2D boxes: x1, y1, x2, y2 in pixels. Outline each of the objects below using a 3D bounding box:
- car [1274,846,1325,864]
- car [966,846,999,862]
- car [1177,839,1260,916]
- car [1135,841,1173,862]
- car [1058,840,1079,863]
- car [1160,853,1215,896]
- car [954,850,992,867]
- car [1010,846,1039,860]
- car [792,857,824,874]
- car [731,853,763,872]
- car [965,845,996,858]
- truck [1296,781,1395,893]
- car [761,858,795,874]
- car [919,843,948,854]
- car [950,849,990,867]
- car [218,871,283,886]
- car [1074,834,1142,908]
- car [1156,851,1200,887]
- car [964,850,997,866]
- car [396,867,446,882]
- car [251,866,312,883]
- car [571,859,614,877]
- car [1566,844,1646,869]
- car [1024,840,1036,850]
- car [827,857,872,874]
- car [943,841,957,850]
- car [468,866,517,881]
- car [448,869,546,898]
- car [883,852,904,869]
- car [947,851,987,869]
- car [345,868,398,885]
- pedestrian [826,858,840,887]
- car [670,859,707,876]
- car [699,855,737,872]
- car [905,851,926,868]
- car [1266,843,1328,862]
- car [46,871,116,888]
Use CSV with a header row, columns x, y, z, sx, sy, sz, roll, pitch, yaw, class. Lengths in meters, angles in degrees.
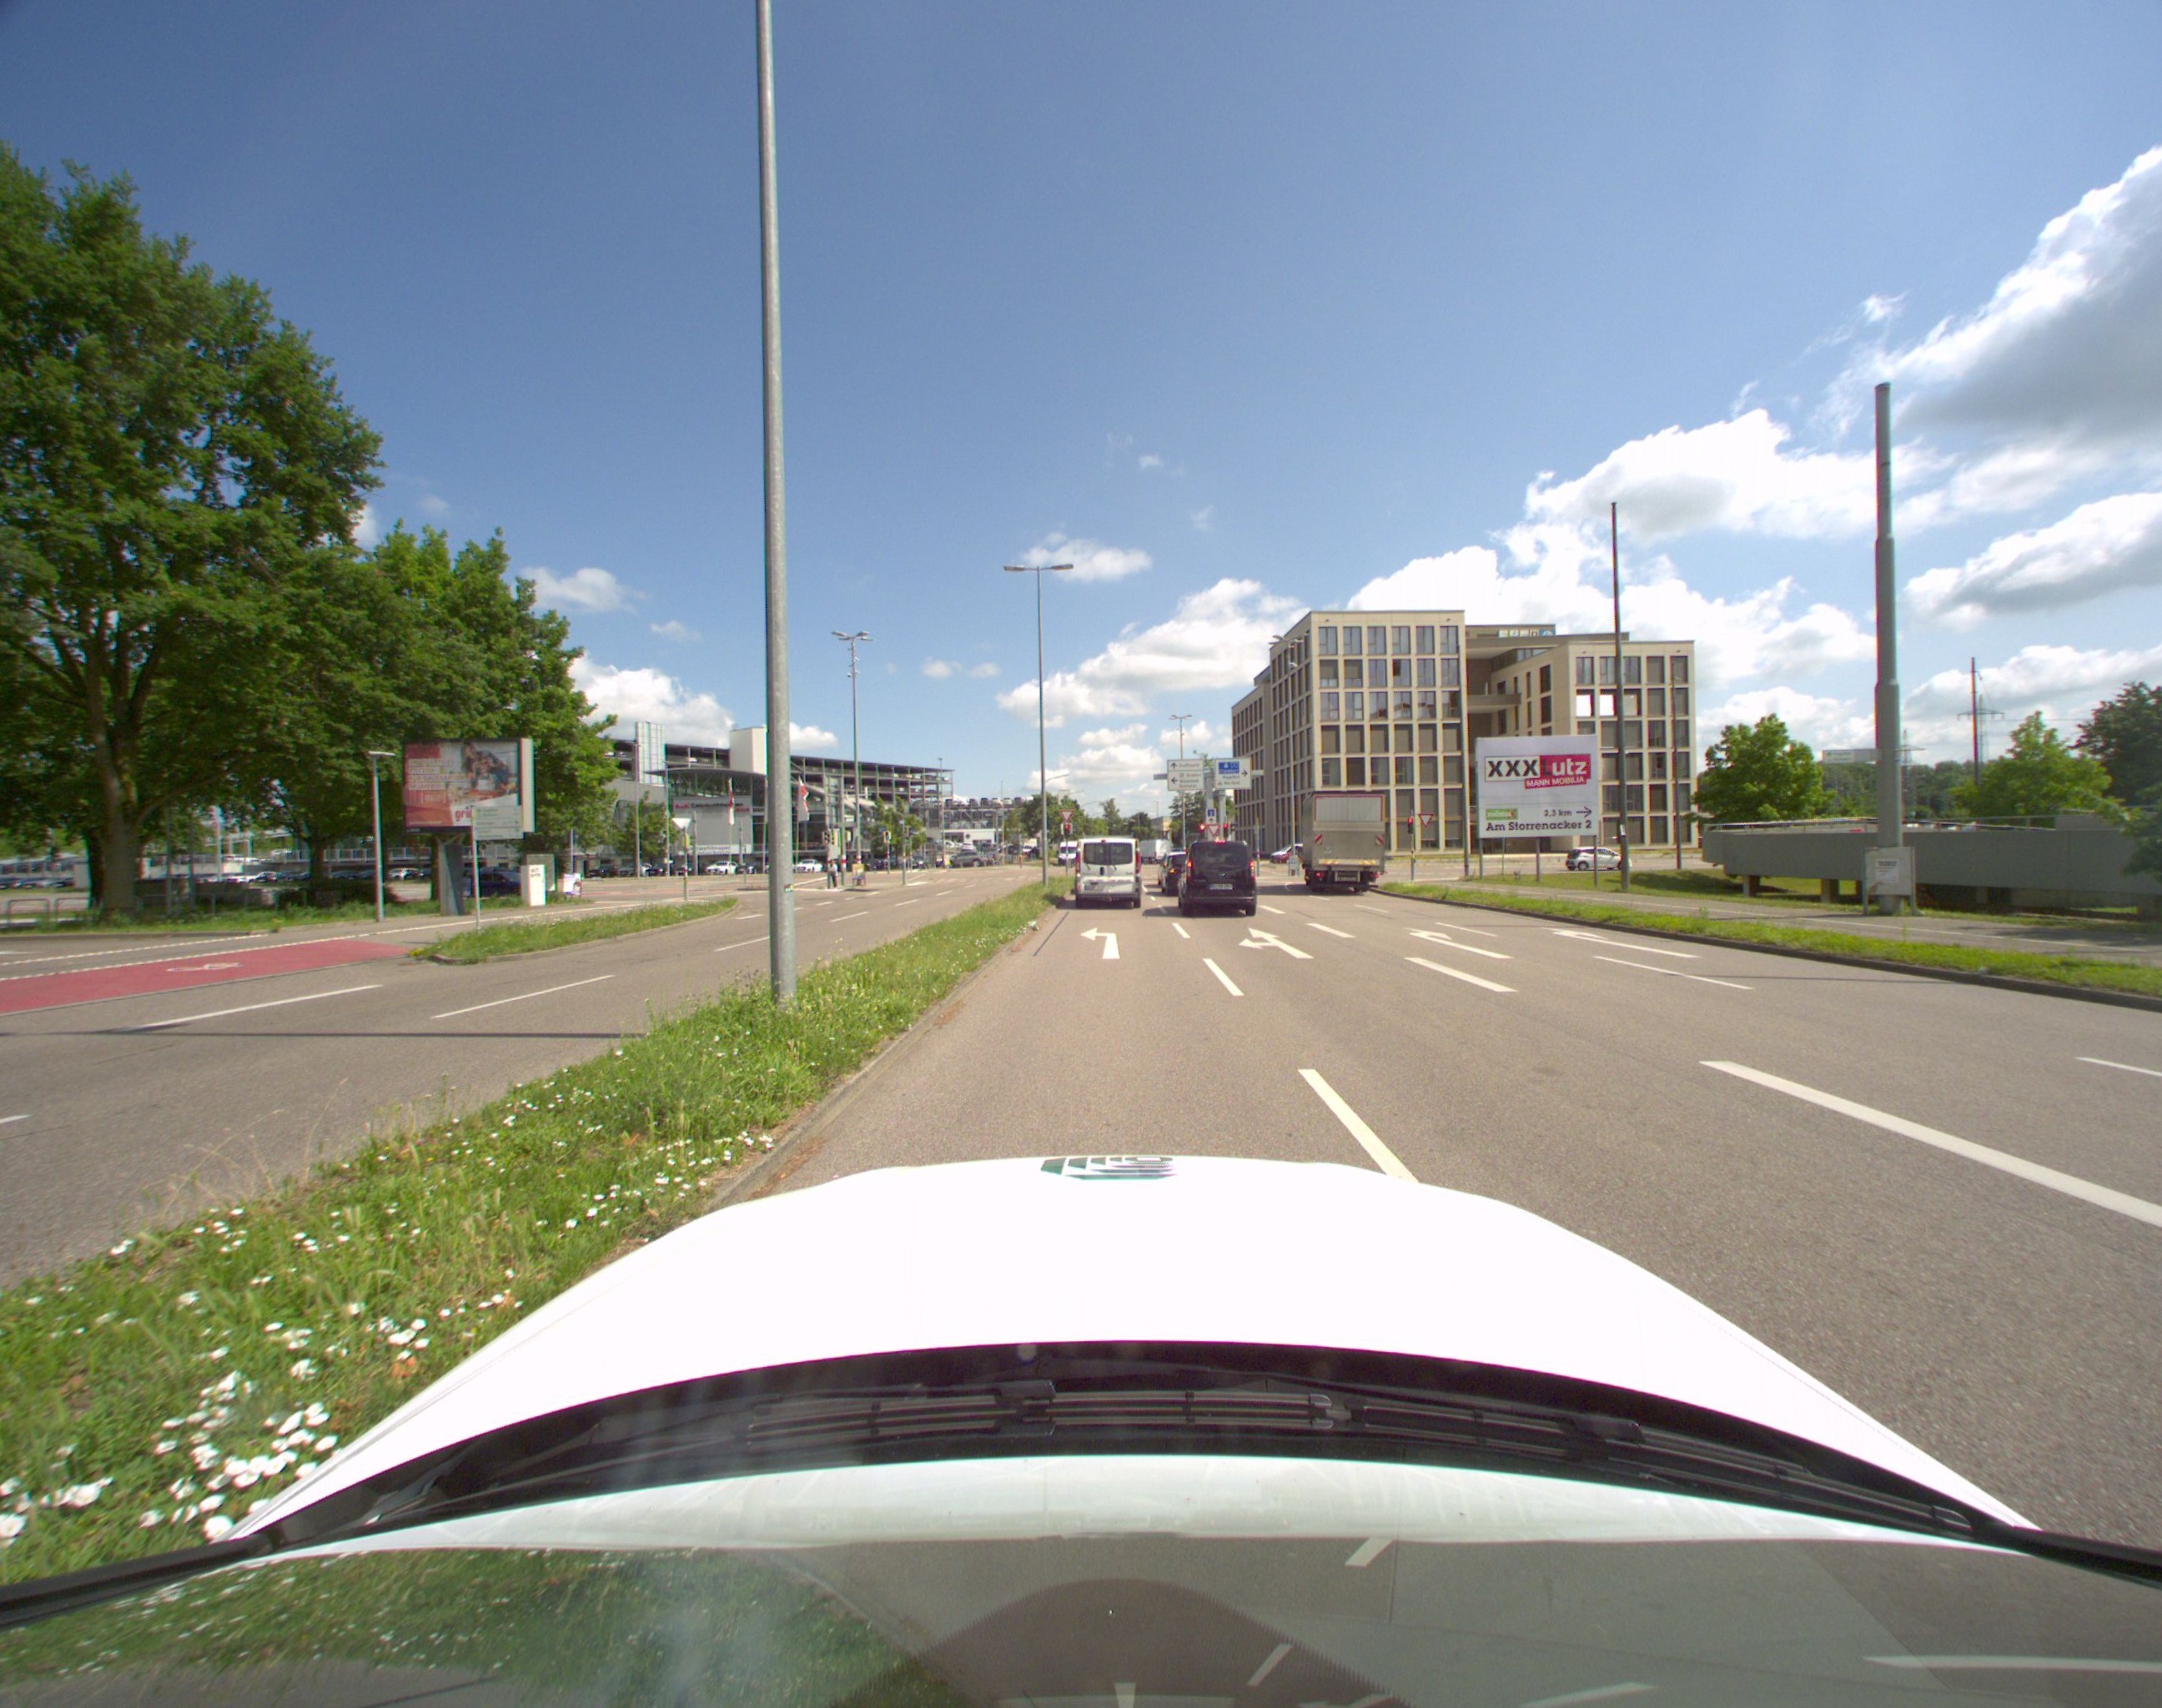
x,y,z,sx,sy,sz,roll,pitch,yaw,class
18.360,0.077,68.596,3.880,1.490,1.795,-1,1,1,car
-12.199,-0.025,101.020,3.902,1.712,1.688,-2,1,-2,car
3.465,0.538,21.156,1.811,1.809,4.006,0,0,5,car
8.056,-0.286,90.437,2.000,2.255,5.479,-1,1,-19,car
-1.368,-0.334,85.314,1.967,2.256,4.975,-2,1,-3,car
3.881,0.709,30.274,1.733,1.495,4.003,0,0,3,car
-11.855,0.503,89.771,3.902,1.712,1.688,-2,1,-2,car
-7.924,-0.154,113.908,3.980,1.926,1.824,0,0,-5,car
-25.882,1.055,77.325,1.771,1.450,4.027,-1,1,-2,car
-31.377,0.749,76.583,1.754,1.660,3.610,-1,1,-6,car
-14.009,-0.331,113.578,4.157,1.712,1.687,0,1,-4,car
10.553,-0.615,33.394,3.108,3.940,8.890,0,0,13,truck
-28.659,1.131,77.098,1.902,1.376,3.750,-1,1,-2,car
-22.078,-0.830,122.103,4.156,1.713,1.686,0,0,-4,car
-11.593,0.436,85.167,3.902,1.712,1.688,-2,1,-2,car
-77.087,2.246,75.685,1.791,1.254,4.003,-1,1,2,car
0.873,0.465,24.111,1.847,2.018,4.005,0,0,4,car
4.370,0.658,37.104,1.733,1.543,4.003,0,0,3,car
-11.440,0.437,93.179,3.498,1.712,1.602,-2,1,-2,car
-59.618,1.832,73.633,1.585,1.191,3.506,-1,0,2,car
-72.018,1.822,73.449,1.691,1.390,3.733,0,0,2,car
-44.813,1.266,74.774,1.832,1.488,3.697,-1,1,-3,car
32.313,0.140,50.182,3.836,1.466,1.696,-1,1,1,car
-8.396,-1.476,135.087,1.841,1.530,3.997,-1,1,-2,car
-21.842,1.099,76.924,3.784,1.513,1.677,-1,1,-3,car
-21.935,-1.457,136.552,1.841,1.530,3.997,-1,1,-2,car
-51.608,1.688,71.496,1.585,1.191,3.506,0,0,2,car
-33.125,1.651,46.288,3.984,1.510,1.995,-1,0,-8,car
-17.800,0.627,77.307,1.820,1.552,3.980,0,0,-15,car
-11.557,0.563,82.723,3.851,1.639,1.857,-2,1,-2,car
-63.920,1.991,73.442,1.585,1.390,3.506,0,0,2,car
-13.176,0.989,43.219,0.464,1.512,0.515,-1,0,27,pedestrian
-36.912,1.253,76.694,1.723,1.486,3.699,-1,1,-2,car
-34.102,0.903,76.601,1.874,1.486,3.699,-1,1,-2,car
-15.839,0.517,77.783,1.820,1.552,3.980,0,0,-15,car
19.265,-0.181,72.708,4.977,1.607,1.996,-1,1,-7,car
-91.583,2.313,74.665,1.691,1.390,3.733,0,0,2,car
